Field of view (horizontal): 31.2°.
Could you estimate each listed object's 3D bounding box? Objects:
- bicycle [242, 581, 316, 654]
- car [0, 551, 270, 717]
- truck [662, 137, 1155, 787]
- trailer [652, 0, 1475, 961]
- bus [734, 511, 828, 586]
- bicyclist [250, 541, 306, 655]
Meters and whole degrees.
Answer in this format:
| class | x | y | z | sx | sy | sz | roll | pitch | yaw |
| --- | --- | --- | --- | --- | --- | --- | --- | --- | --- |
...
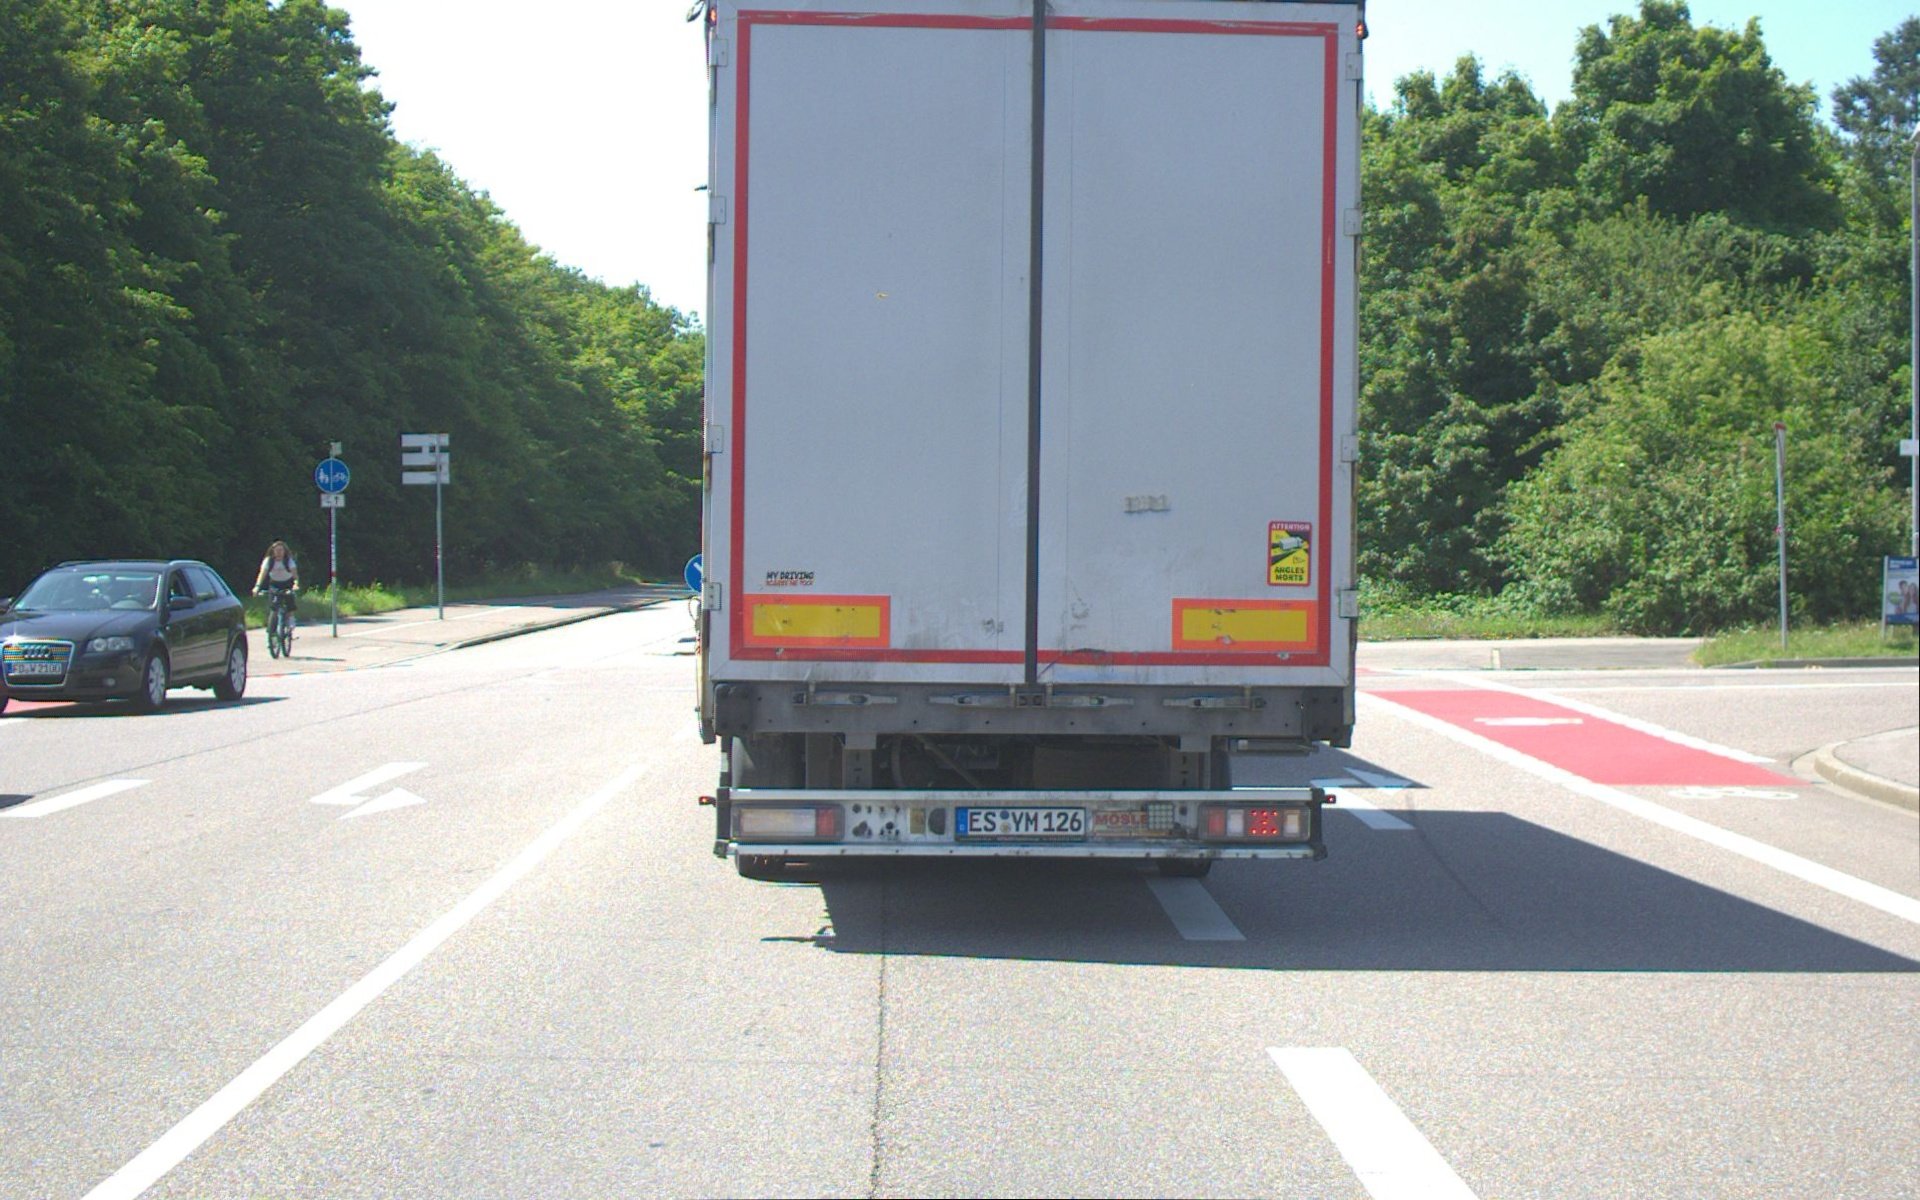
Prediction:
| class | x | y | z | sx | sy | sz | roll | pitch | yaw |
| --- | --- | --- | --- | --- | --- | --- | --- | --- | --- |
| bicycle | -10.330 | 0.254 | 52.204 | 0.669 | 1.051 | 2.045 | 0 | 1 | 1 |
| car | -8.223 | 0.274 | 33.339 | 1.744 | 1.400 | 4.440 | 0 | 2 | 6 |
| truck | -0.619 | -0.928 | 25.560 | 3.077 | 4.056 | 7.960 | 0 | 1 | -4 |
| trailer | 0.004 | -0.767 | 17.773 | 3.077 | 4.056 | 9.810 | 0 | 1 | -5 |
| bus | -7.728 | -2.319 | 149.881 | 2.750 | 3.035 | 11.938 | -2 | 1 | 3 |
| bicyclist | -10.328 | -0.034 | 52.065 | 0.665 | 1.700 | 0.769 | 1 | 1 | 1 |
